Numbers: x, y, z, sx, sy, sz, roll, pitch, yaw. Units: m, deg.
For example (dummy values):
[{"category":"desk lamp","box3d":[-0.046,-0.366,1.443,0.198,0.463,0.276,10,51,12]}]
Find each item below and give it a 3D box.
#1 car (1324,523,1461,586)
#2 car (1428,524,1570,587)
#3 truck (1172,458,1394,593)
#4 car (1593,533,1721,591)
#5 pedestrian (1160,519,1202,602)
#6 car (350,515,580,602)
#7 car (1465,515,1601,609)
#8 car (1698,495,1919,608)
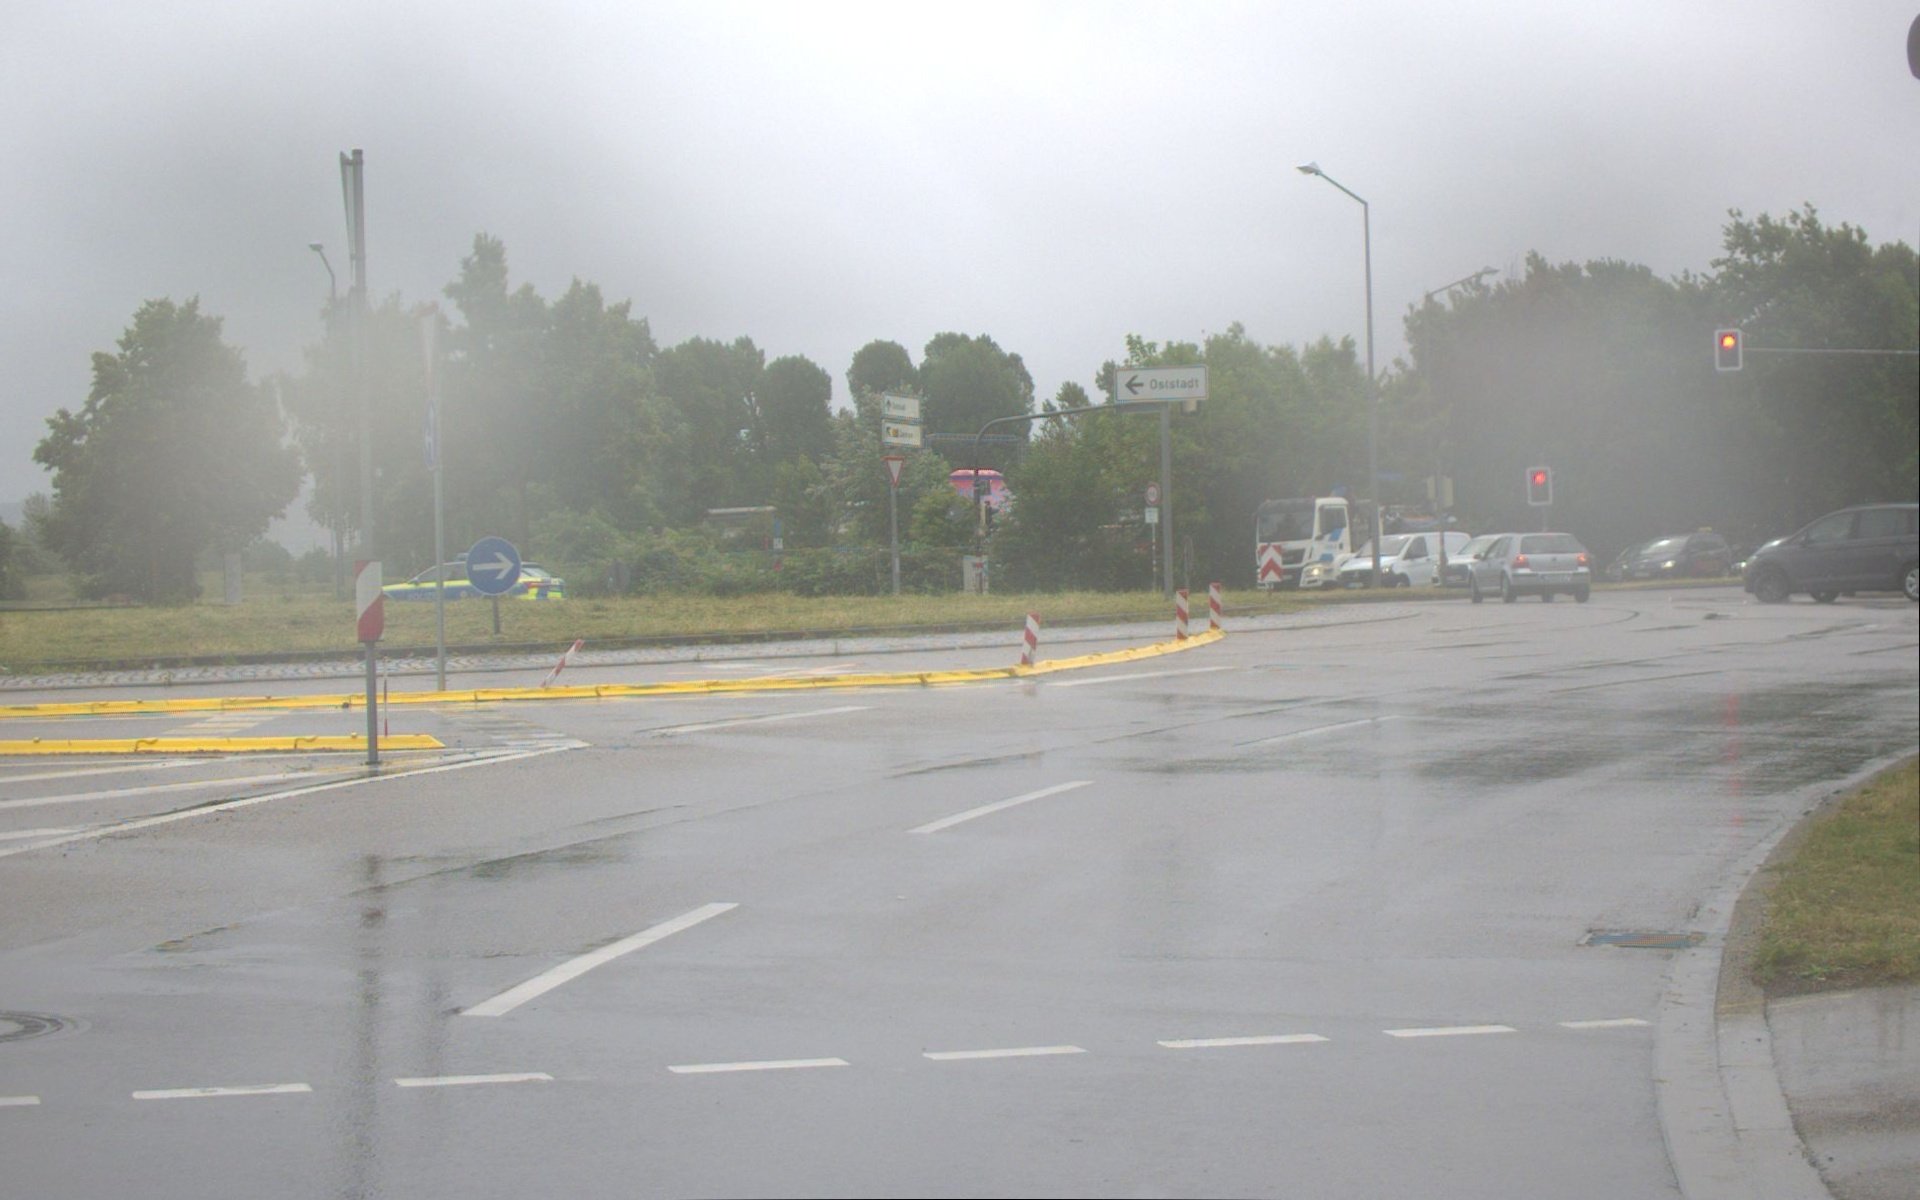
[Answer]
[{"category":"car","box3d":[12.114,-1.256,96.117,1.800,1.656,4.124,1,0,41]},{"category":"car","box3d":[14.851,-1.211,94.594,1.800,1.656,4.399,1,0,41]},{"category":"truck","box3d":[7.063,-1.542,74.070,2.464,2.677,8.049,1,0,23]},{"category":"car","box3d":[20.806,-1.124,102.502,1.800,1.656,4.399,1,0,41]},{"category":"pedestrian","box3d":[3.492,-0.630,54.305,0.453,1.300,0.485,-1,1,38]},{"category":"car","box3d":[-11.174,-0.930,77.550,4.766,1.845,1.998,-1,1,24]},{"category":"car","box3d":[11.750,-0.759,70.770,1.993,1.845,4.776,1,0,0]},{"category":"car","box3d":[15.101,-0.812,58.052,4.771,1.845,1.995,1,0,39]}]
